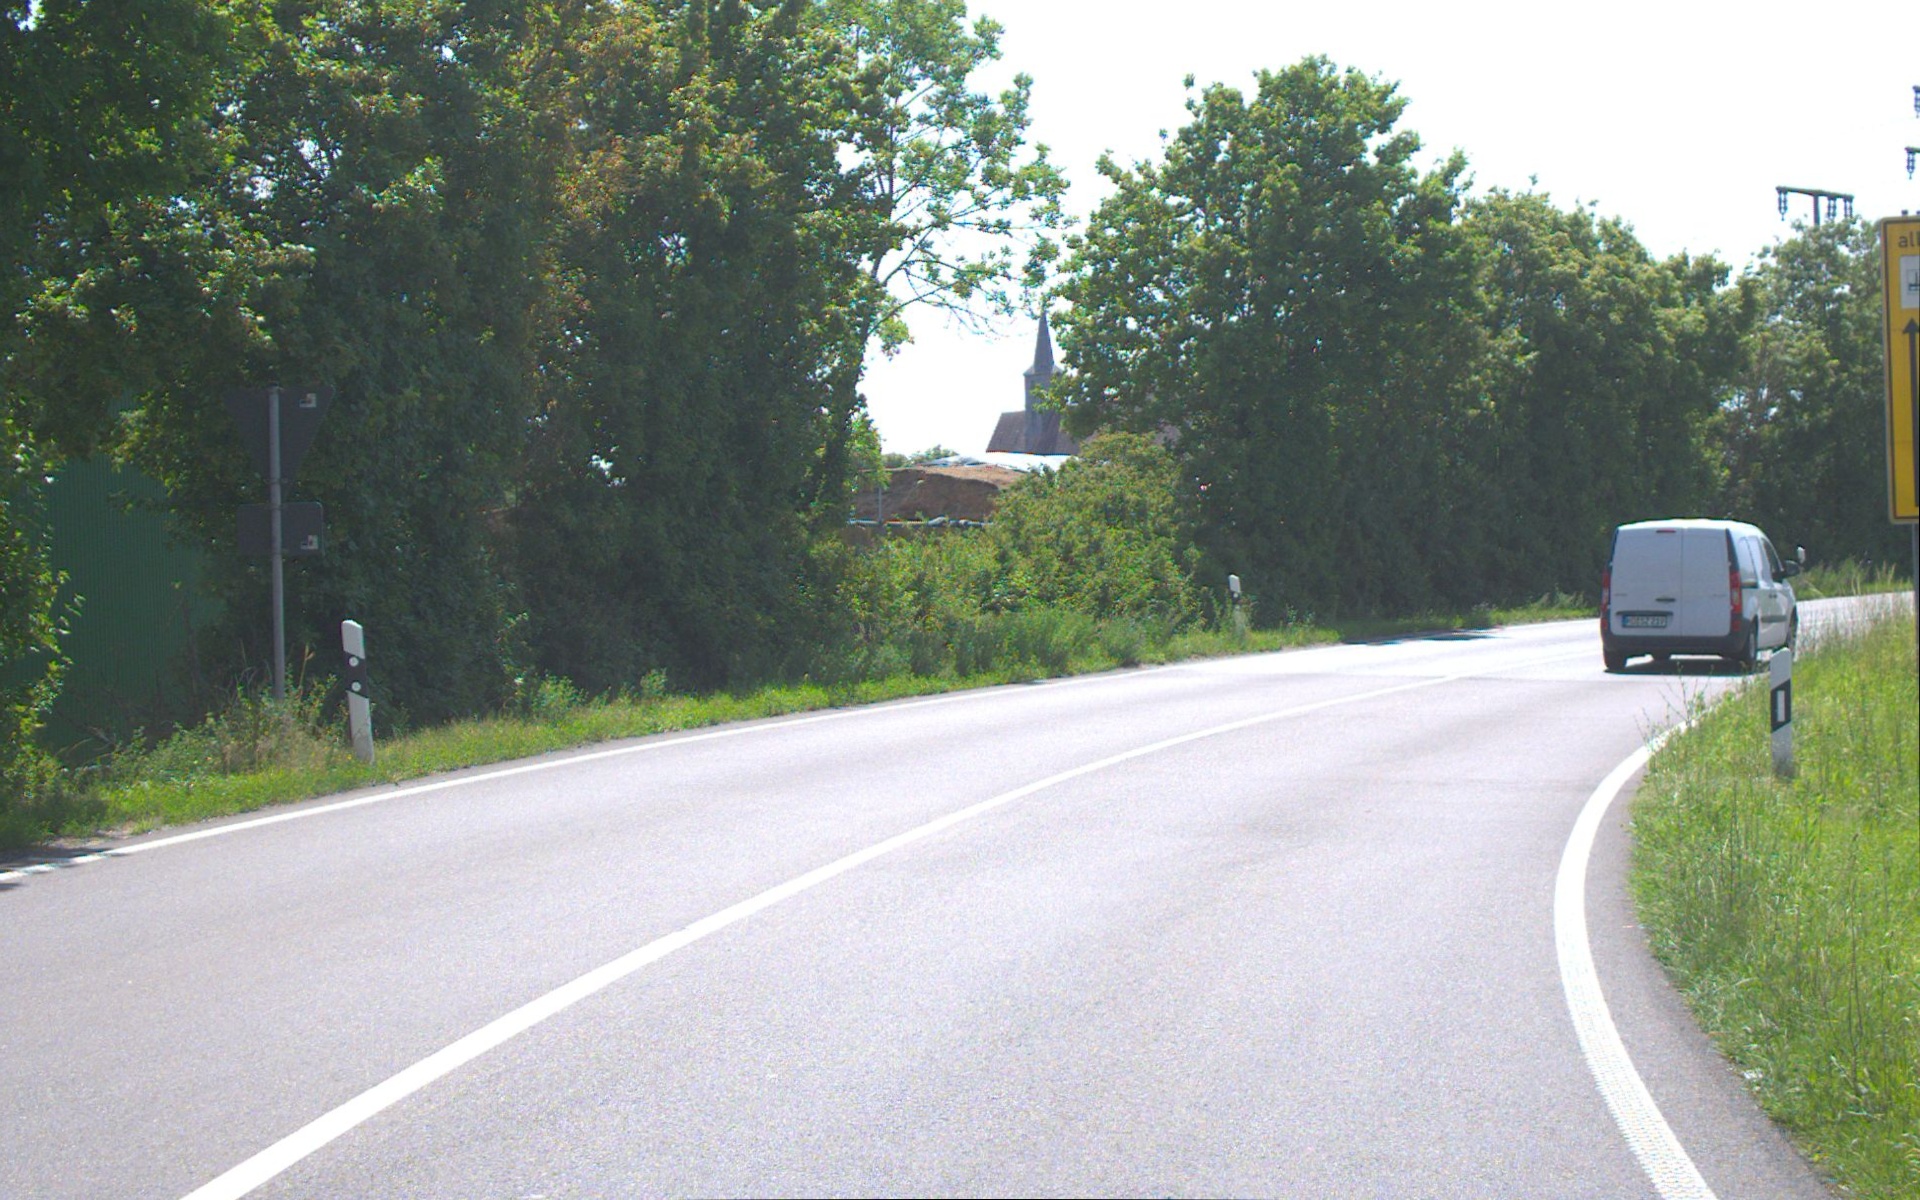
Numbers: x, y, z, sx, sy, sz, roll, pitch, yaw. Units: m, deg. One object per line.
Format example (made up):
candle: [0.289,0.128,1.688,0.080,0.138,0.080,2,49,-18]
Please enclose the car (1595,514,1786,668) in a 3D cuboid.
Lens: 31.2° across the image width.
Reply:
car: [8.879,-0.116,41.593,1.905,1.726,3.819,-1,0,17]
